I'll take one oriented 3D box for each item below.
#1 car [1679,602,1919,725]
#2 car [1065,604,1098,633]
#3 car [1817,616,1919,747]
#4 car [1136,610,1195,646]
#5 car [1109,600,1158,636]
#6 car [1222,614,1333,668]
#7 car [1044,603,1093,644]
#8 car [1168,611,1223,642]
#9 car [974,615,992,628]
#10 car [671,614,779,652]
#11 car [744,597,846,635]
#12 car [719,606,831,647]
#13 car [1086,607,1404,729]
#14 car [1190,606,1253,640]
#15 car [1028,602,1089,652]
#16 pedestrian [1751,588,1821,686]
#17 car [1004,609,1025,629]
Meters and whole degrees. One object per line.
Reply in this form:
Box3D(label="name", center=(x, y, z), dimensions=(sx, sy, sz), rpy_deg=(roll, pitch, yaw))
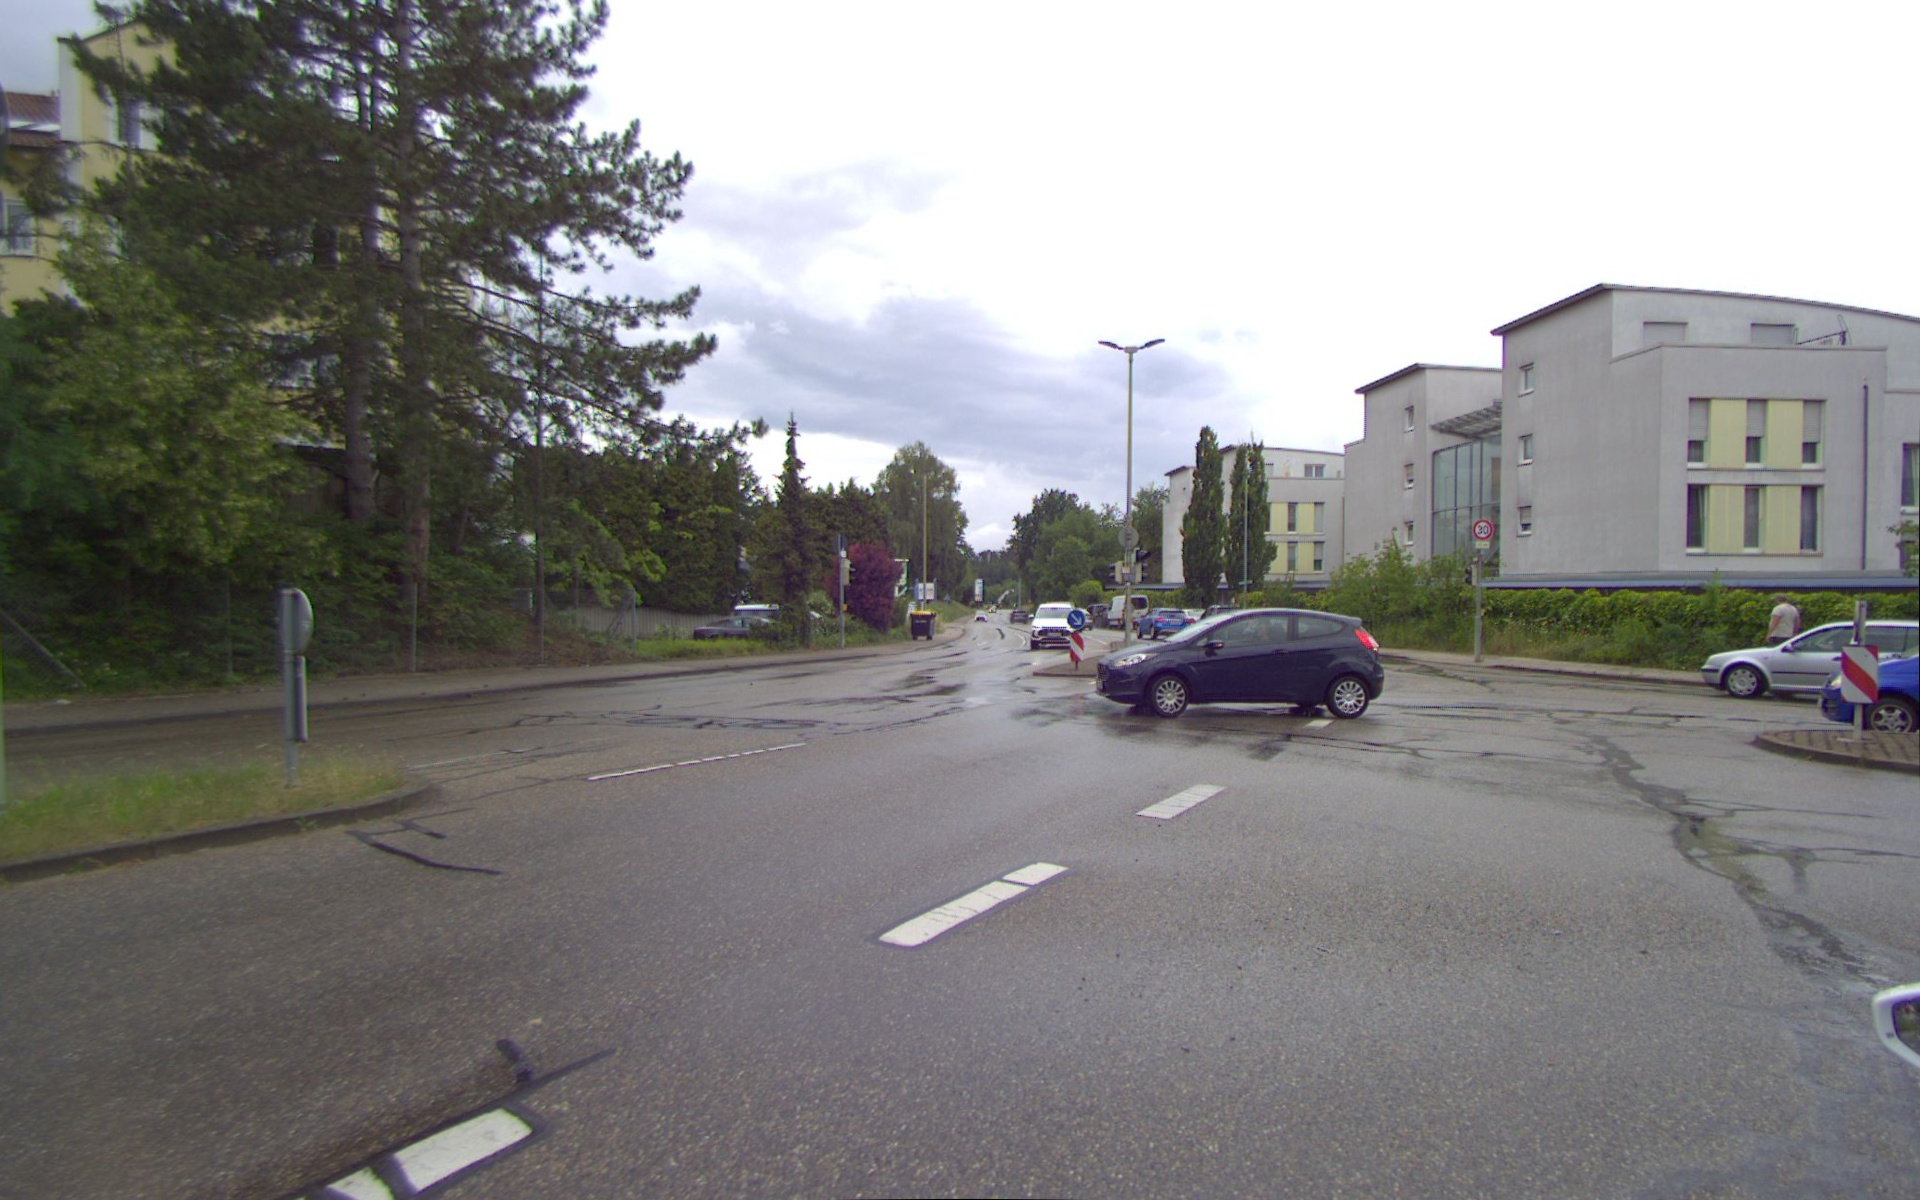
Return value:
Box3D(label="car", center=(15.182, 1.017, 17.404), dimensions=(1.978, 1.693, 3.962), rpy_deg=(-2, 4, -33))
Box3D(label="car", center=(8.701, 1.309, 72.342), dimensions=(1.960, 1.782, 3.999), rpy_deg=(0, 3, 1))
Box3D(label="car", center=(12.162, 0.954, 11.603), dimensions=(3.387, 1.476, 1.518), rpy_deg=(0, 0, 39))
Box3D(label="car", center=(9.769, 1.308, 48.036), dimensions=(1.960, 1.576, 4.000), rpy_deg=(-1, 0, 0))
Box3D(label="car", center=(12.241, 1.307, 71.362), dimensions=(2.549, 2.445, 5.257), rpy_deg=(0, -2, 0))
Box3D(label="car", center=(10.563, 1.321, 33.744), dimensions=(1.964, 1.573, 3.993), rpy_deg=(0, 0, -10))
Box3D(label="car", center=(5.117, 1.078, 47.842), dimensions=(1.960, 1.840, 4.000), rpy_deg=(0, 1, 1))
Box3D(label="car", center=(12.992, 1.419, 55.730), dimensions=(1.961, 1.576, 3.998), rpy_deg=(-1, 0, -3))
Box3D(label="car", center=(3.250, 3.033, 142.673), dimensions=(1.963, 1.476, 3.994), rpy_deg=(-1, 4, -6))
Box3D(label="car", center=(-8.616, 1.206, 37.003), dimensions=(3.515, 1.258, 1.654), rpy_deg=(1, 1, 8))
Box3D(label="car", center=(-6.909, 0.669, 42.238), dimensions=(3.919, 1.413, 1.733), rpy_deg=(1, 3, 6))
Box3D(label="car", center=(-7.302, 1.033, 39.810), dimensions=(3.919, 1.484, 2.001), rpy_deg=(1, 1, 8))
Box3D(label="car", center=(3.887, 0.904, 14.205), dimensions=(3.921, 1.521, 1.925), rpy_deg=(1, 1, -1))
Box3D(label="car", center=(13.263, 1.142, 51.162), dimensions=(1.961, 1.576, 3.998), rpy_deg=(-1, 0, -3))
Box3D(label="car", center=(3.771, 0.972, 37.727), dimensions=(1.959, 1.662, 4.002), rpy_deg=(1, 1, 10))
Box3D(label="pedestrian", center=(17.545, 0.765, 21.354), dimensions=(0.834, 2.040, 0.800), rpy_deg=(0, 0, -9))
Box3D(label="car", center=(6.366, 2.143, 116.793), dimensions=(1.943, 2.041, 3.996), rpy_deg=(0, 3, -4))
